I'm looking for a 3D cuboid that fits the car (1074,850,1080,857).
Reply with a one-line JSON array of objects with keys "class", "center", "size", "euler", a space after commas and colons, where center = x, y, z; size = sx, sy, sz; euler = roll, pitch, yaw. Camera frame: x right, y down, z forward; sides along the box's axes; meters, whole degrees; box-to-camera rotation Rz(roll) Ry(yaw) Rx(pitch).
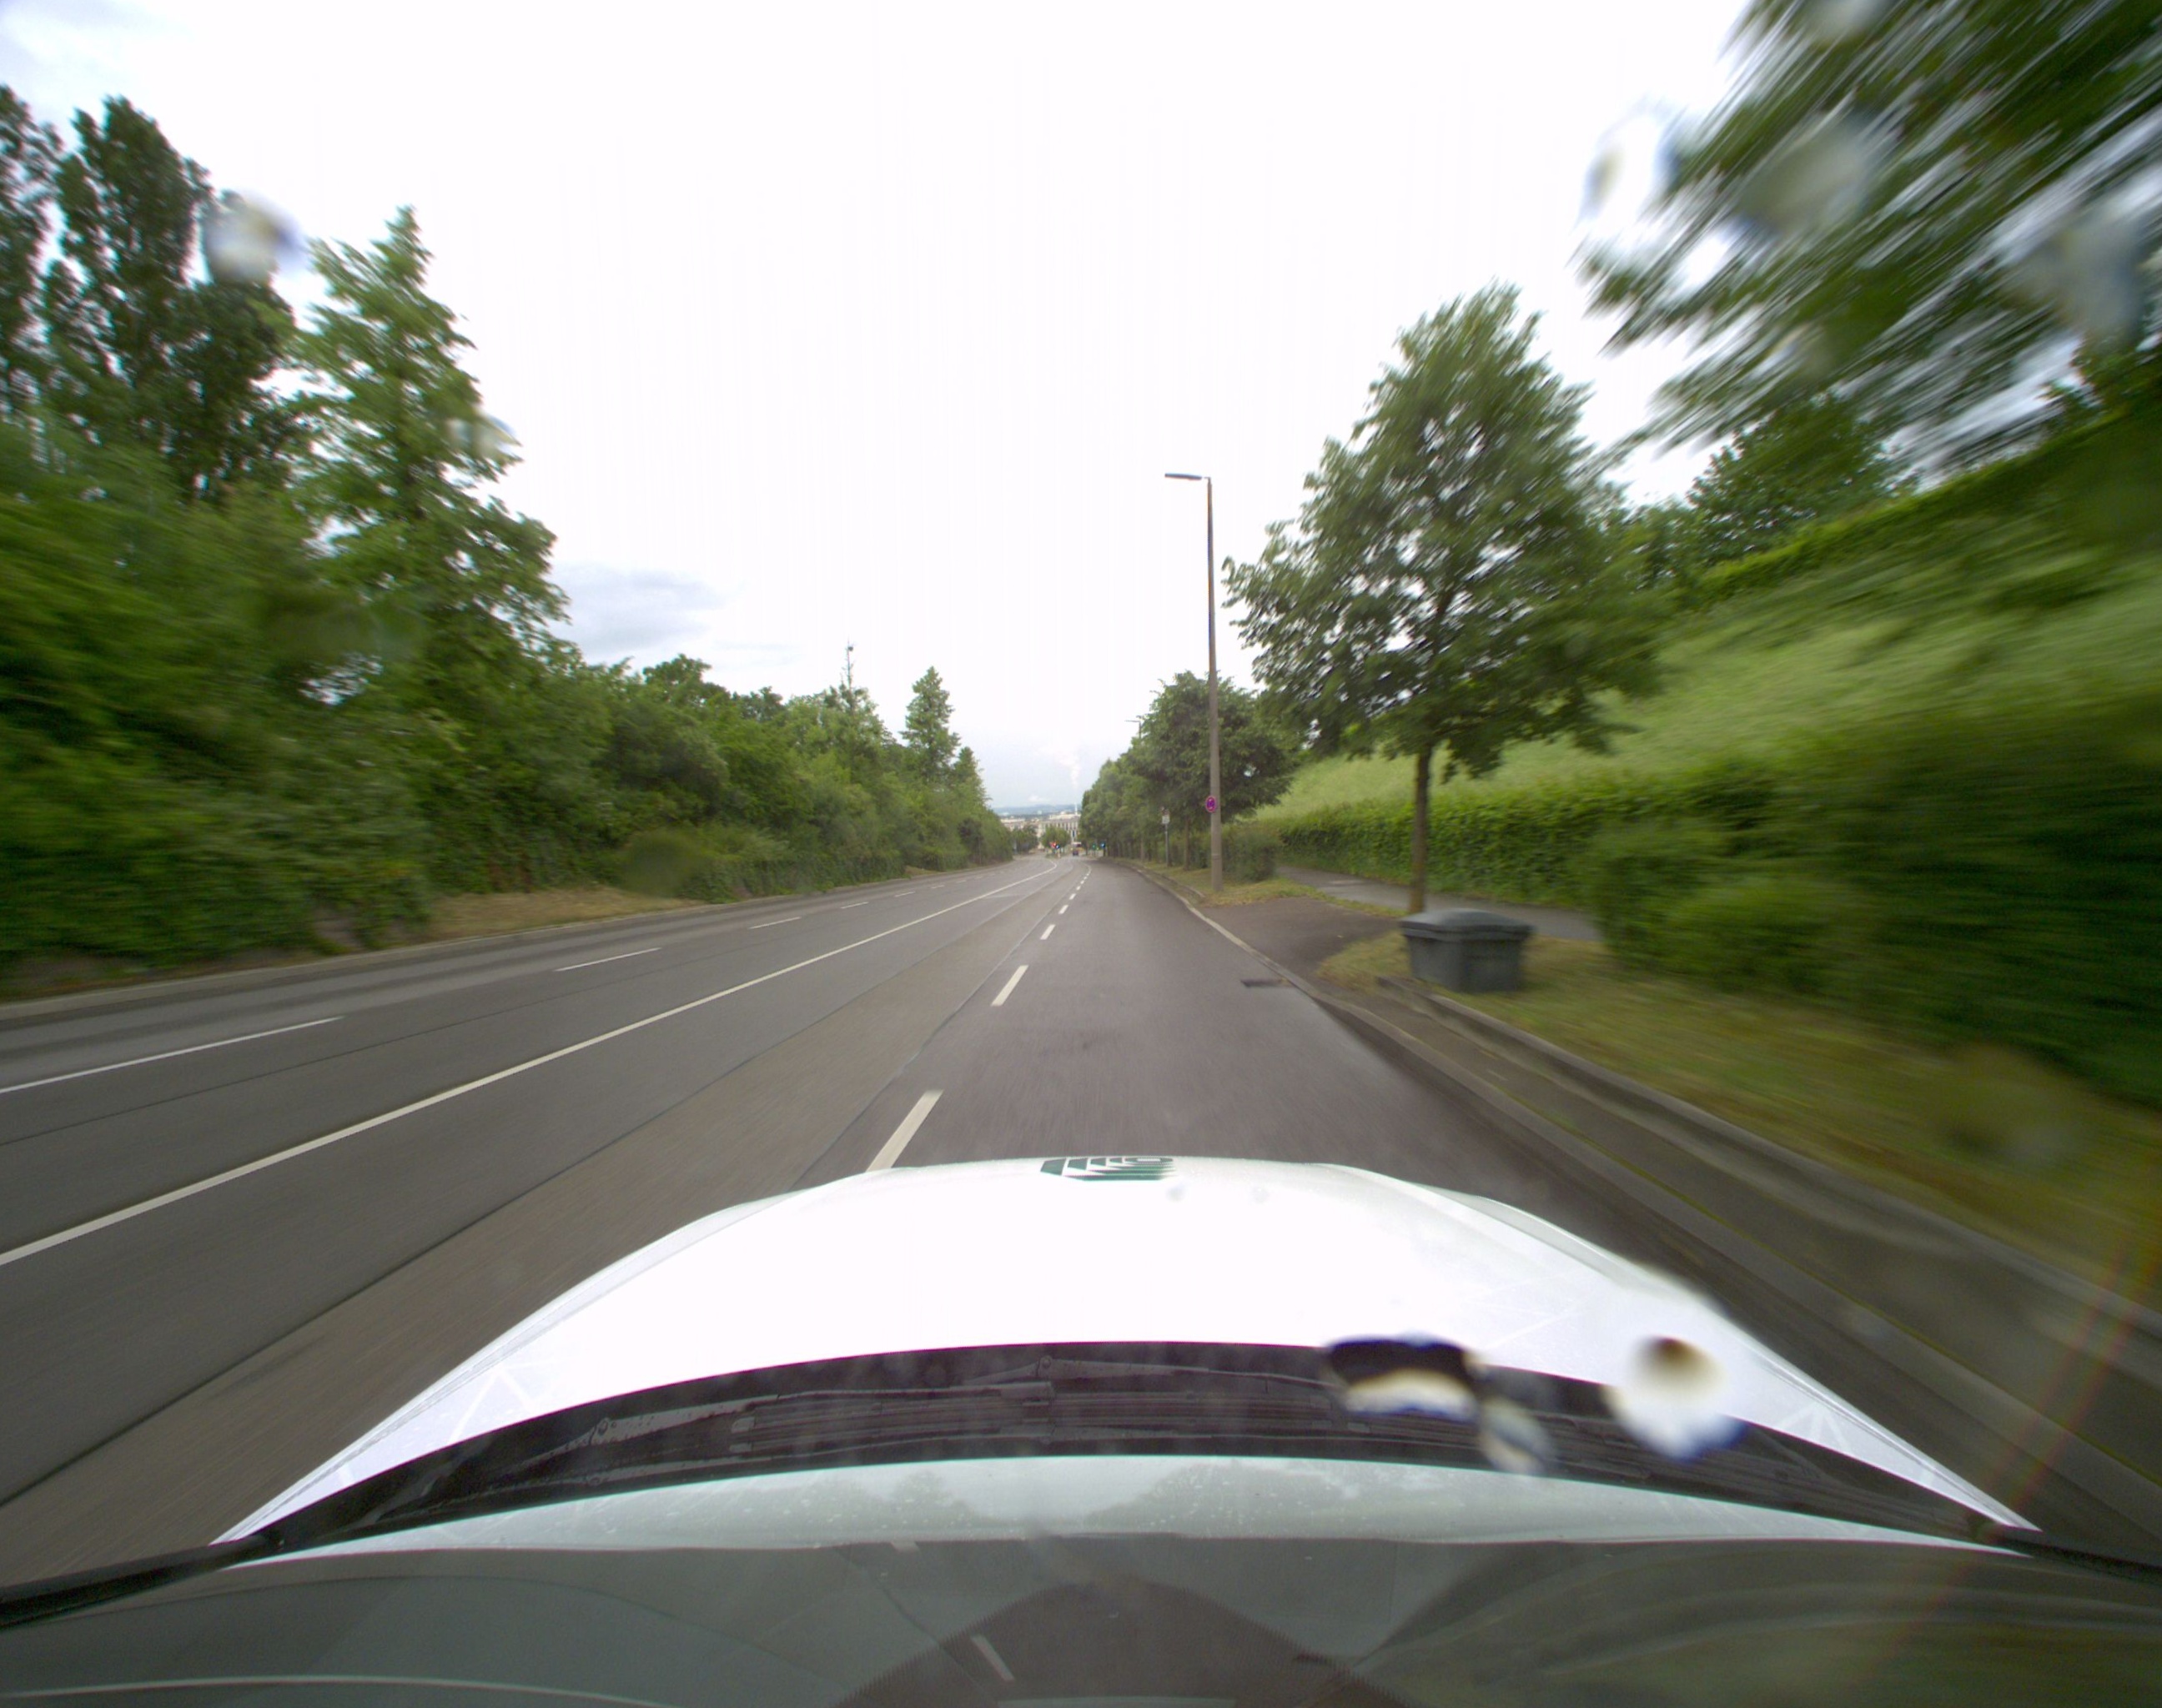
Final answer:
[{"class": "car", "center": [-1.071, -0.166, 224.172], "size": [1.843, 1.702, 3.792], "euler": [0, -1, 0]}]
